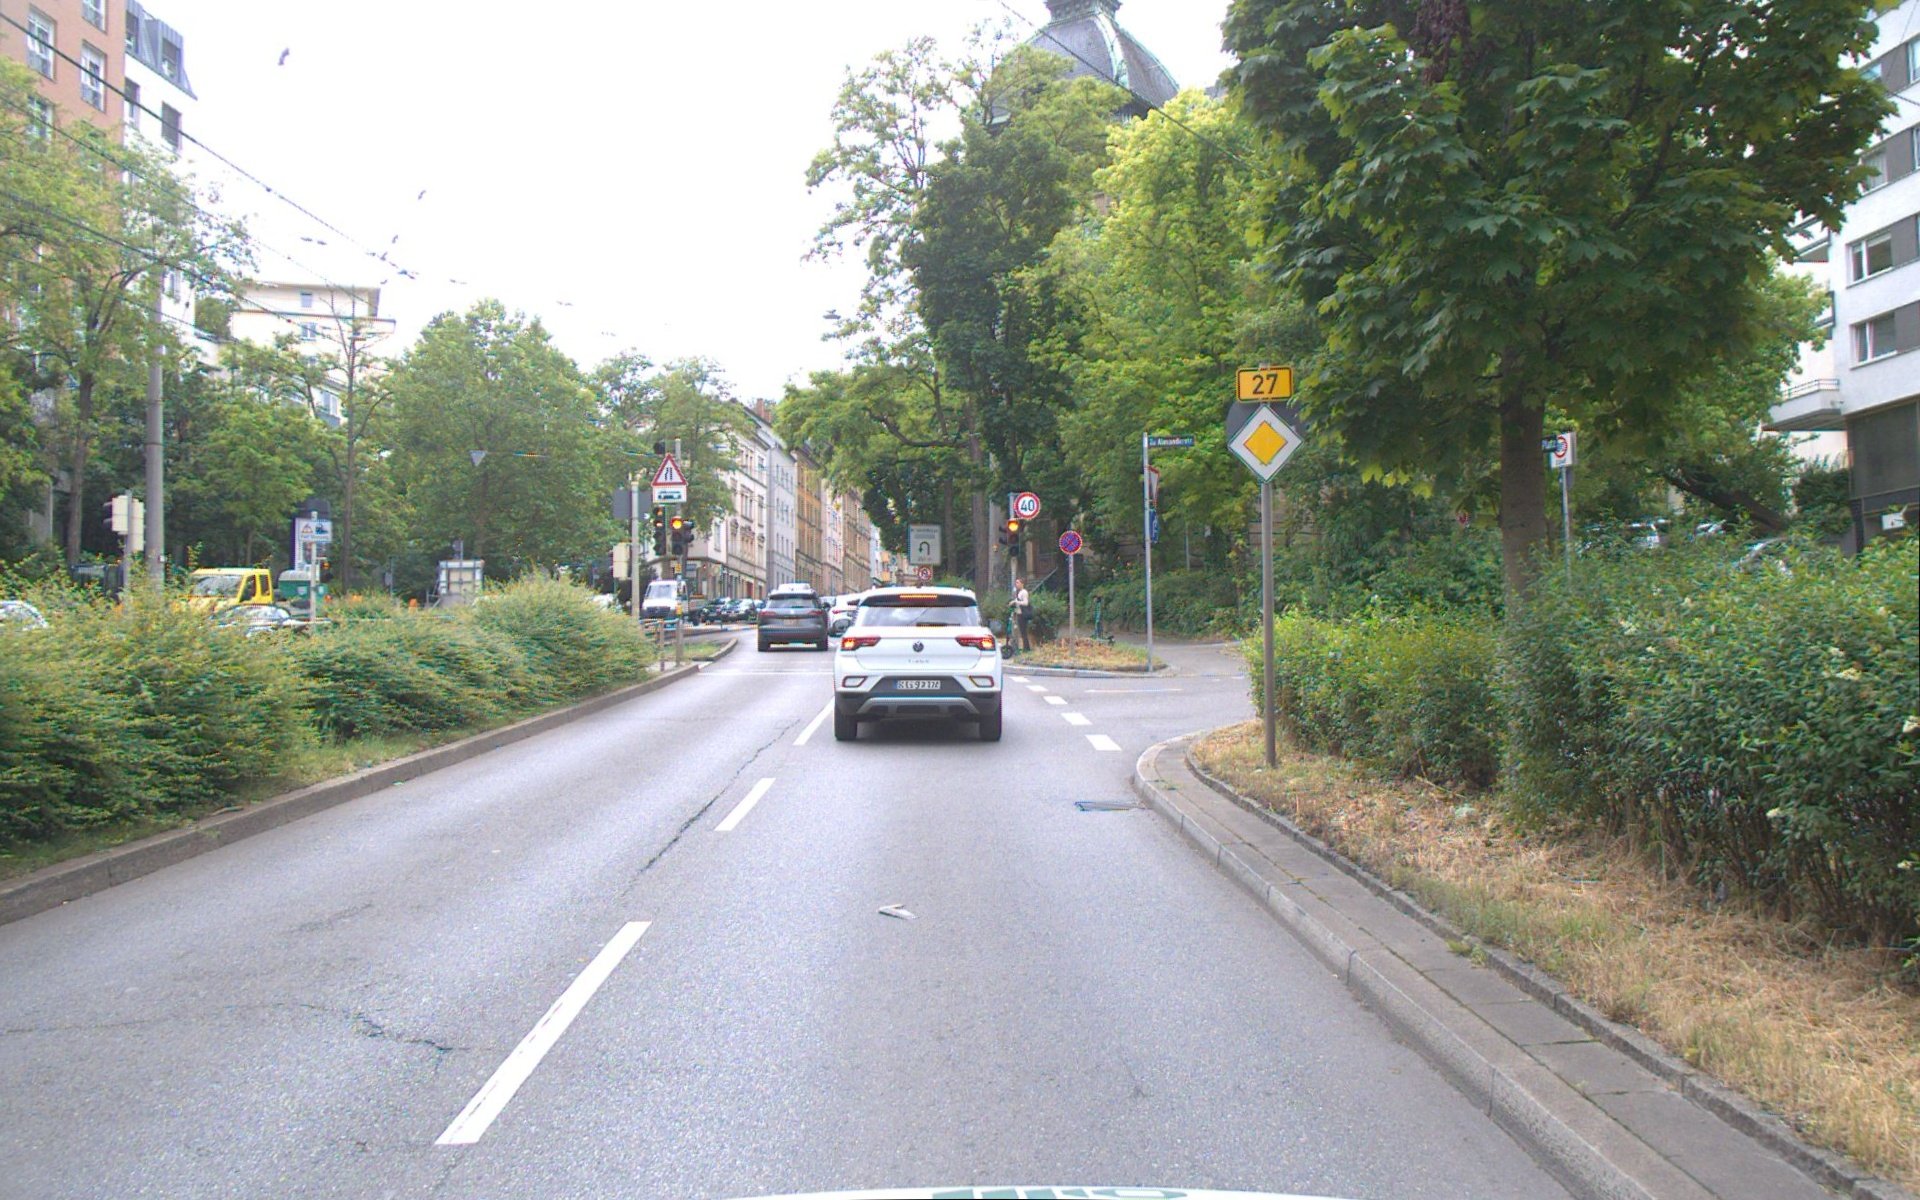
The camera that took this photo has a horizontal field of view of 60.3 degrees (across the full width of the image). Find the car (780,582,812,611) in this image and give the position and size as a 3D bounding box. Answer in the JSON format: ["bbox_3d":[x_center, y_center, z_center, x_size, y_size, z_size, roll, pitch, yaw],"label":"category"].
[{"bbox_3d":[-11.983,-0.230,121.269,1.953,2.049,3.999,-1,0,-1],"label":"car"}]

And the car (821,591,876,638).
[{"bbox_3d":[-4.123,0.552,61.807,1.954,1.651,3.997,-1,-1,-3],"label":"car"}]

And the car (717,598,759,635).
[{"bbox_3d":[-13.301,1.000,99.377,1.953,2.049,3.998,2,-2,-1],"label":"car"}]

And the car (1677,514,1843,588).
[{"bbox_3d":[23.907,-1.451,49.502,4.052,2.049,1.996,-1,0,-8],"label":"car"}]

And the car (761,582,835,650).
[{"bbox_3d":[-4.489,0.409,46.218,1.803,1.770,3.998,-1,0,-3],"label":"car"}]

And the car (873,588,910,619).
[{"bbox_3d":[-5.056,0.267,123.376,2.372,2.207,6.034,-1,-1,1],"label":"car"}]

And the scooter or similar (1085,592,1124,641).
[{"bbox_3d":[3.444,0.405,39.511,0.466,1.119,1.363,-1,-2,-15],"label":"scooter or similar"}]

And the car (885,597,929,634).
[{"bbox_3d":[-3.273,0.962,103.425,2.372,2.207,6.034,-1,-1,1],"label":"car"}]

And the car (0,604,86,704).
[{"bbox_3d":[-15.809,0.847,26.431,1.705,1.513,4.064,0,1,-3],"label":"car"}]

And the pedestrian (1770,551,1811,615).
[{"bbox_3d":[20.254,-0.410,40.351,0.551,1.526,0.672,-1,0,-27],"label":"pedestrian"}]

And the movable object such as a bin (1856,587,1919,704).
[{"bbox_3d":[9.129,0.431,16.098,0.483,1.113,0.565,-1,0,-1],"label":"movable object such as a bin"}]

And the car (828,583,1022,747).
[{"bbox_3d":[-0.456,0.621,18.276,1.899,1.594,4.044,0,1,-3],"label":"car"}]

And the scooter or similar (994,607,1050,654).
[{"bbox_3d":[1.363,0.674,36.701,1.164,1.011,0.531,-2,0,-5],"label":"scooter or similar"}]

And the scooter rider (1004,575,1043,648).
[{"bbox_3d":[1.401,0.262,36.706,0.762,1.585,0.531,-1,0,-6],"label":"scooter rider"}]

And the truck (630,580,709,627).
[{"bbox_3d":[-14.547,0.123,83.158,2.371,2.207,6.037,2,1,5],"label":"truck"}]

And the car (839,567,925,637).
[{"bbox_3d":[-2.078,0.094,43.082,1.867,1.602,3.827,2,-2,-8],"label":"car"}]
